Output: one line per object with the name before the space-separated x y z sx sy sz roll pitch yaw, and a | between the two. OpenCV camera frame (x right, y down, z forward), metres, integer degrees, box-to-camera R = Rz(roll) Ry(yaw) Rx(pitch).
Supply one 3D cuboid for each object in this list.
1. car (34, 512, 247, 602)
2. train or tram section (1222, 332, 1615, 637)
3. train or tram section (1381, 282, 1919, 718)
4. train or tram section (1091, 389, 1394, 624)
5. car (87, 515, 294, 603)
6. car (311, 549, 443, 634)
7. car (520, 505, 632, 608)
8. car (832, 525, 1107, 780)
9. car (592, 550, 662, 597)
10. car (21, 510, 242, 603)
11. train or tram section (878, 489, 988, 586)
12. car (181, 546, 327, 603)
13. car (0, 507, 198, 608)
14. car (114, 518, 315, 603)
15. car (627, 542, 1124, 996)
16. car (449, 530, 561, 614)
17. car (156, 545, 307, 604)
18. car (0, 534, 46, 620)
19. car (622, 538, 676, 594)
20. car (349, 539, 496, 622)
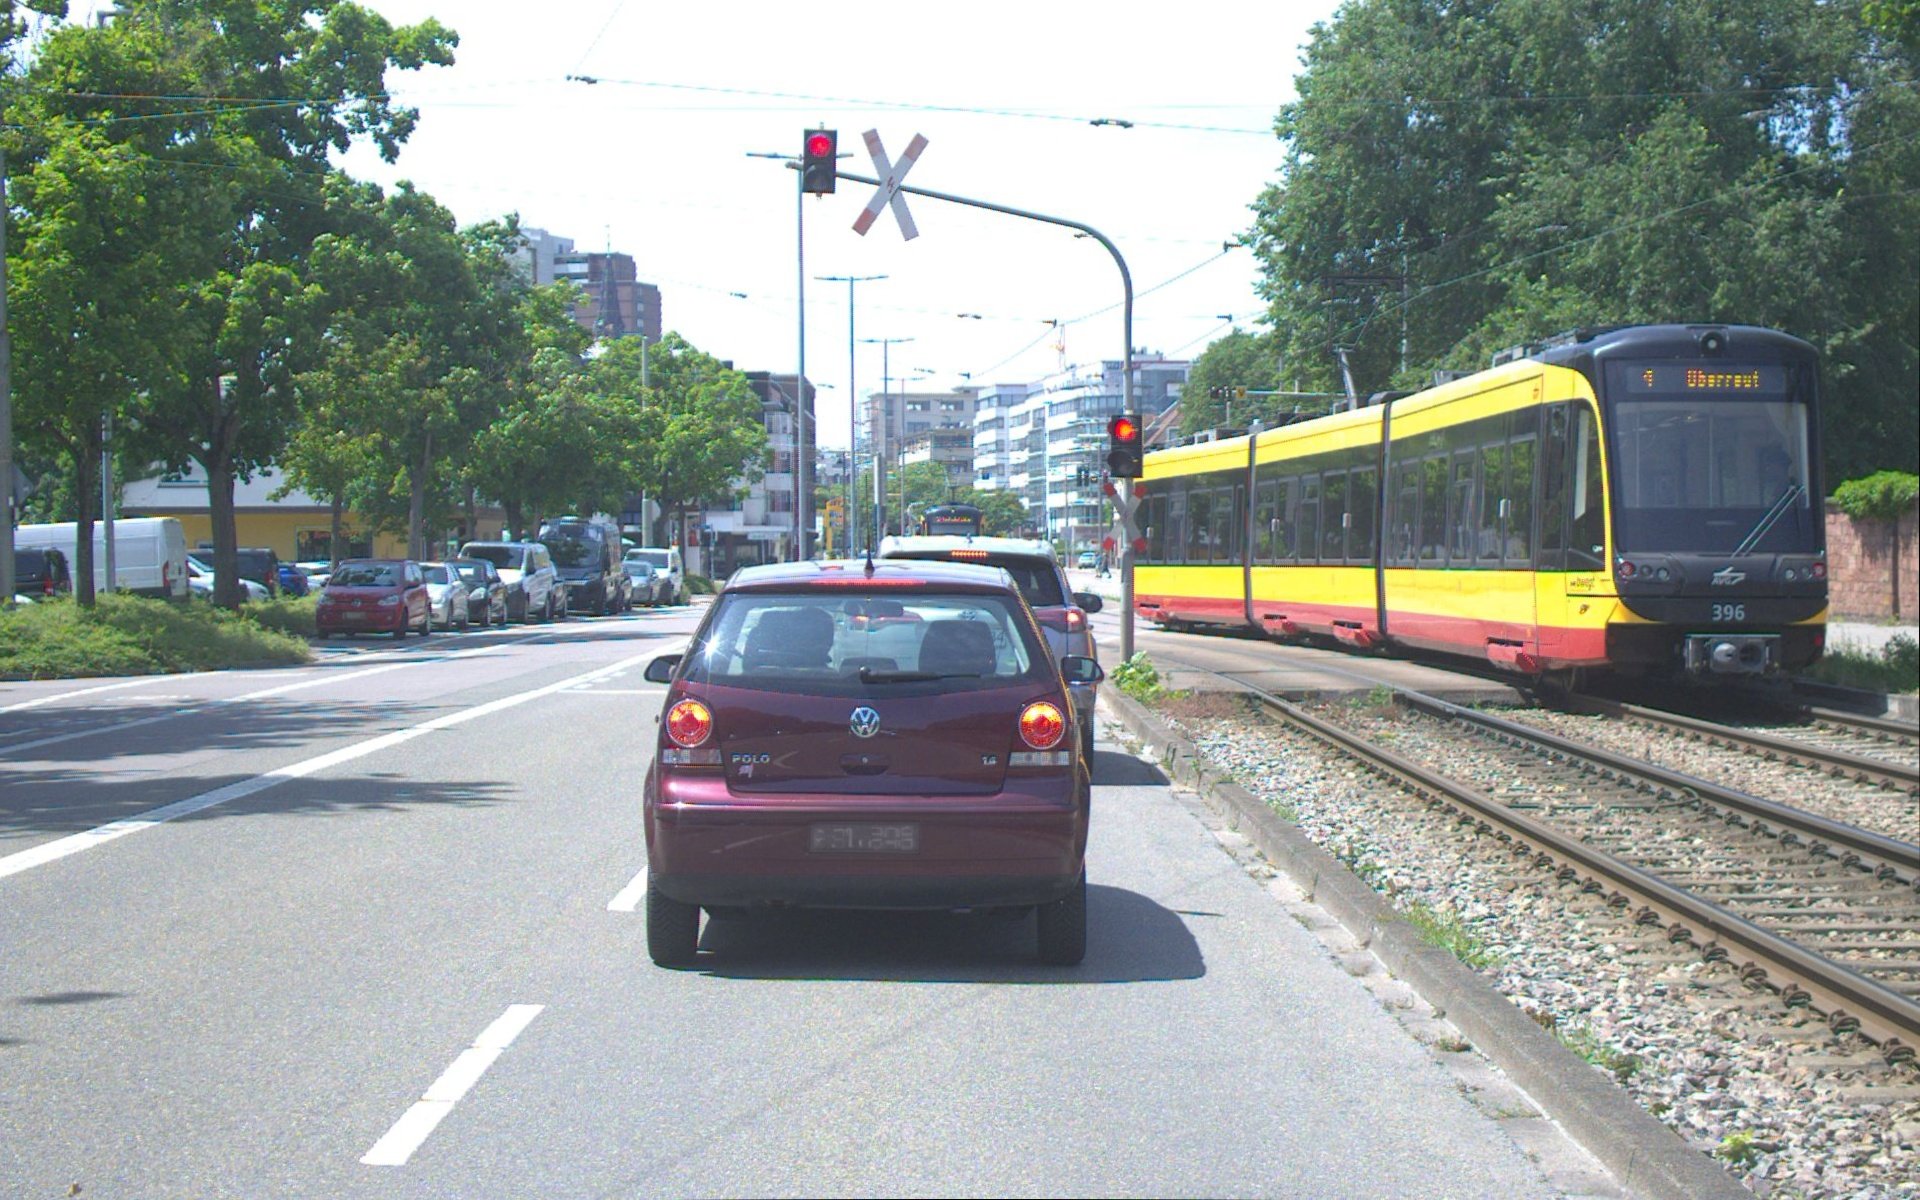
car | -21.989 -1.133 92.399 5.097 2.237 2.378 2 0 1
train or tram section | 6.233 -1.562 49.448 3.028 3.785 13.092 0 1 -4
train or tram section | 6.868 -0.991 36.512 3.028 3.785 13.090 0 1 -1
train or tram section | 4.838 -1.640 62.177 3.028 3.785 12.763 -1 1 -6
car | -21.203 -1.117 94.859 5.097 2.237 2.378 2 0 1
car | -10.907 -0.158 64.499 1.663 1.491 4.000 2 0 1
car | -10.492 -1.165 94.324 2.361 2.683 5.307 2 0 1
car | 0.019 0.311 24.712 1.777 1.641 4.000 1 1 -1
car | -10.794 -0.841 111.551 1.614 1.436 3.999 2 0 3
car | -21.457 -1.107 89.201 5.097 2.237 2.378 2 0 1
train or tram section | -1.166 -2.502 135.968 2.740 3.597 12.873 2 1 -7
car | -21.532 -0.762 104.946 4.020 1.611 1.816 2 0 1
car | -20.809 -1.006 81.046 5.097 2.237 2.378 2 0 1
car | -21.151 -1.124 97.702 5.097 2.237 2.378 2 0 1
car | -0.329 0.548 13.791 1.672 1.516 4.000 1 1 -1
car | -10.714 -0.647 81.285 1.783 1.875 4.785 2 0 2
car | -21.568 -0.753 101.865 4.020 1.611 1.816 2 0 1
car | -21.048 -0.464 70.624 3.987 1.740 1.998 -1 1 -1
car | -10.645 -1.166 117.609 1.774 1.822 4.001 2 0 -5
car | -11.067 -0.389 71.048 1.976 1.595 4.557 2 0 4
